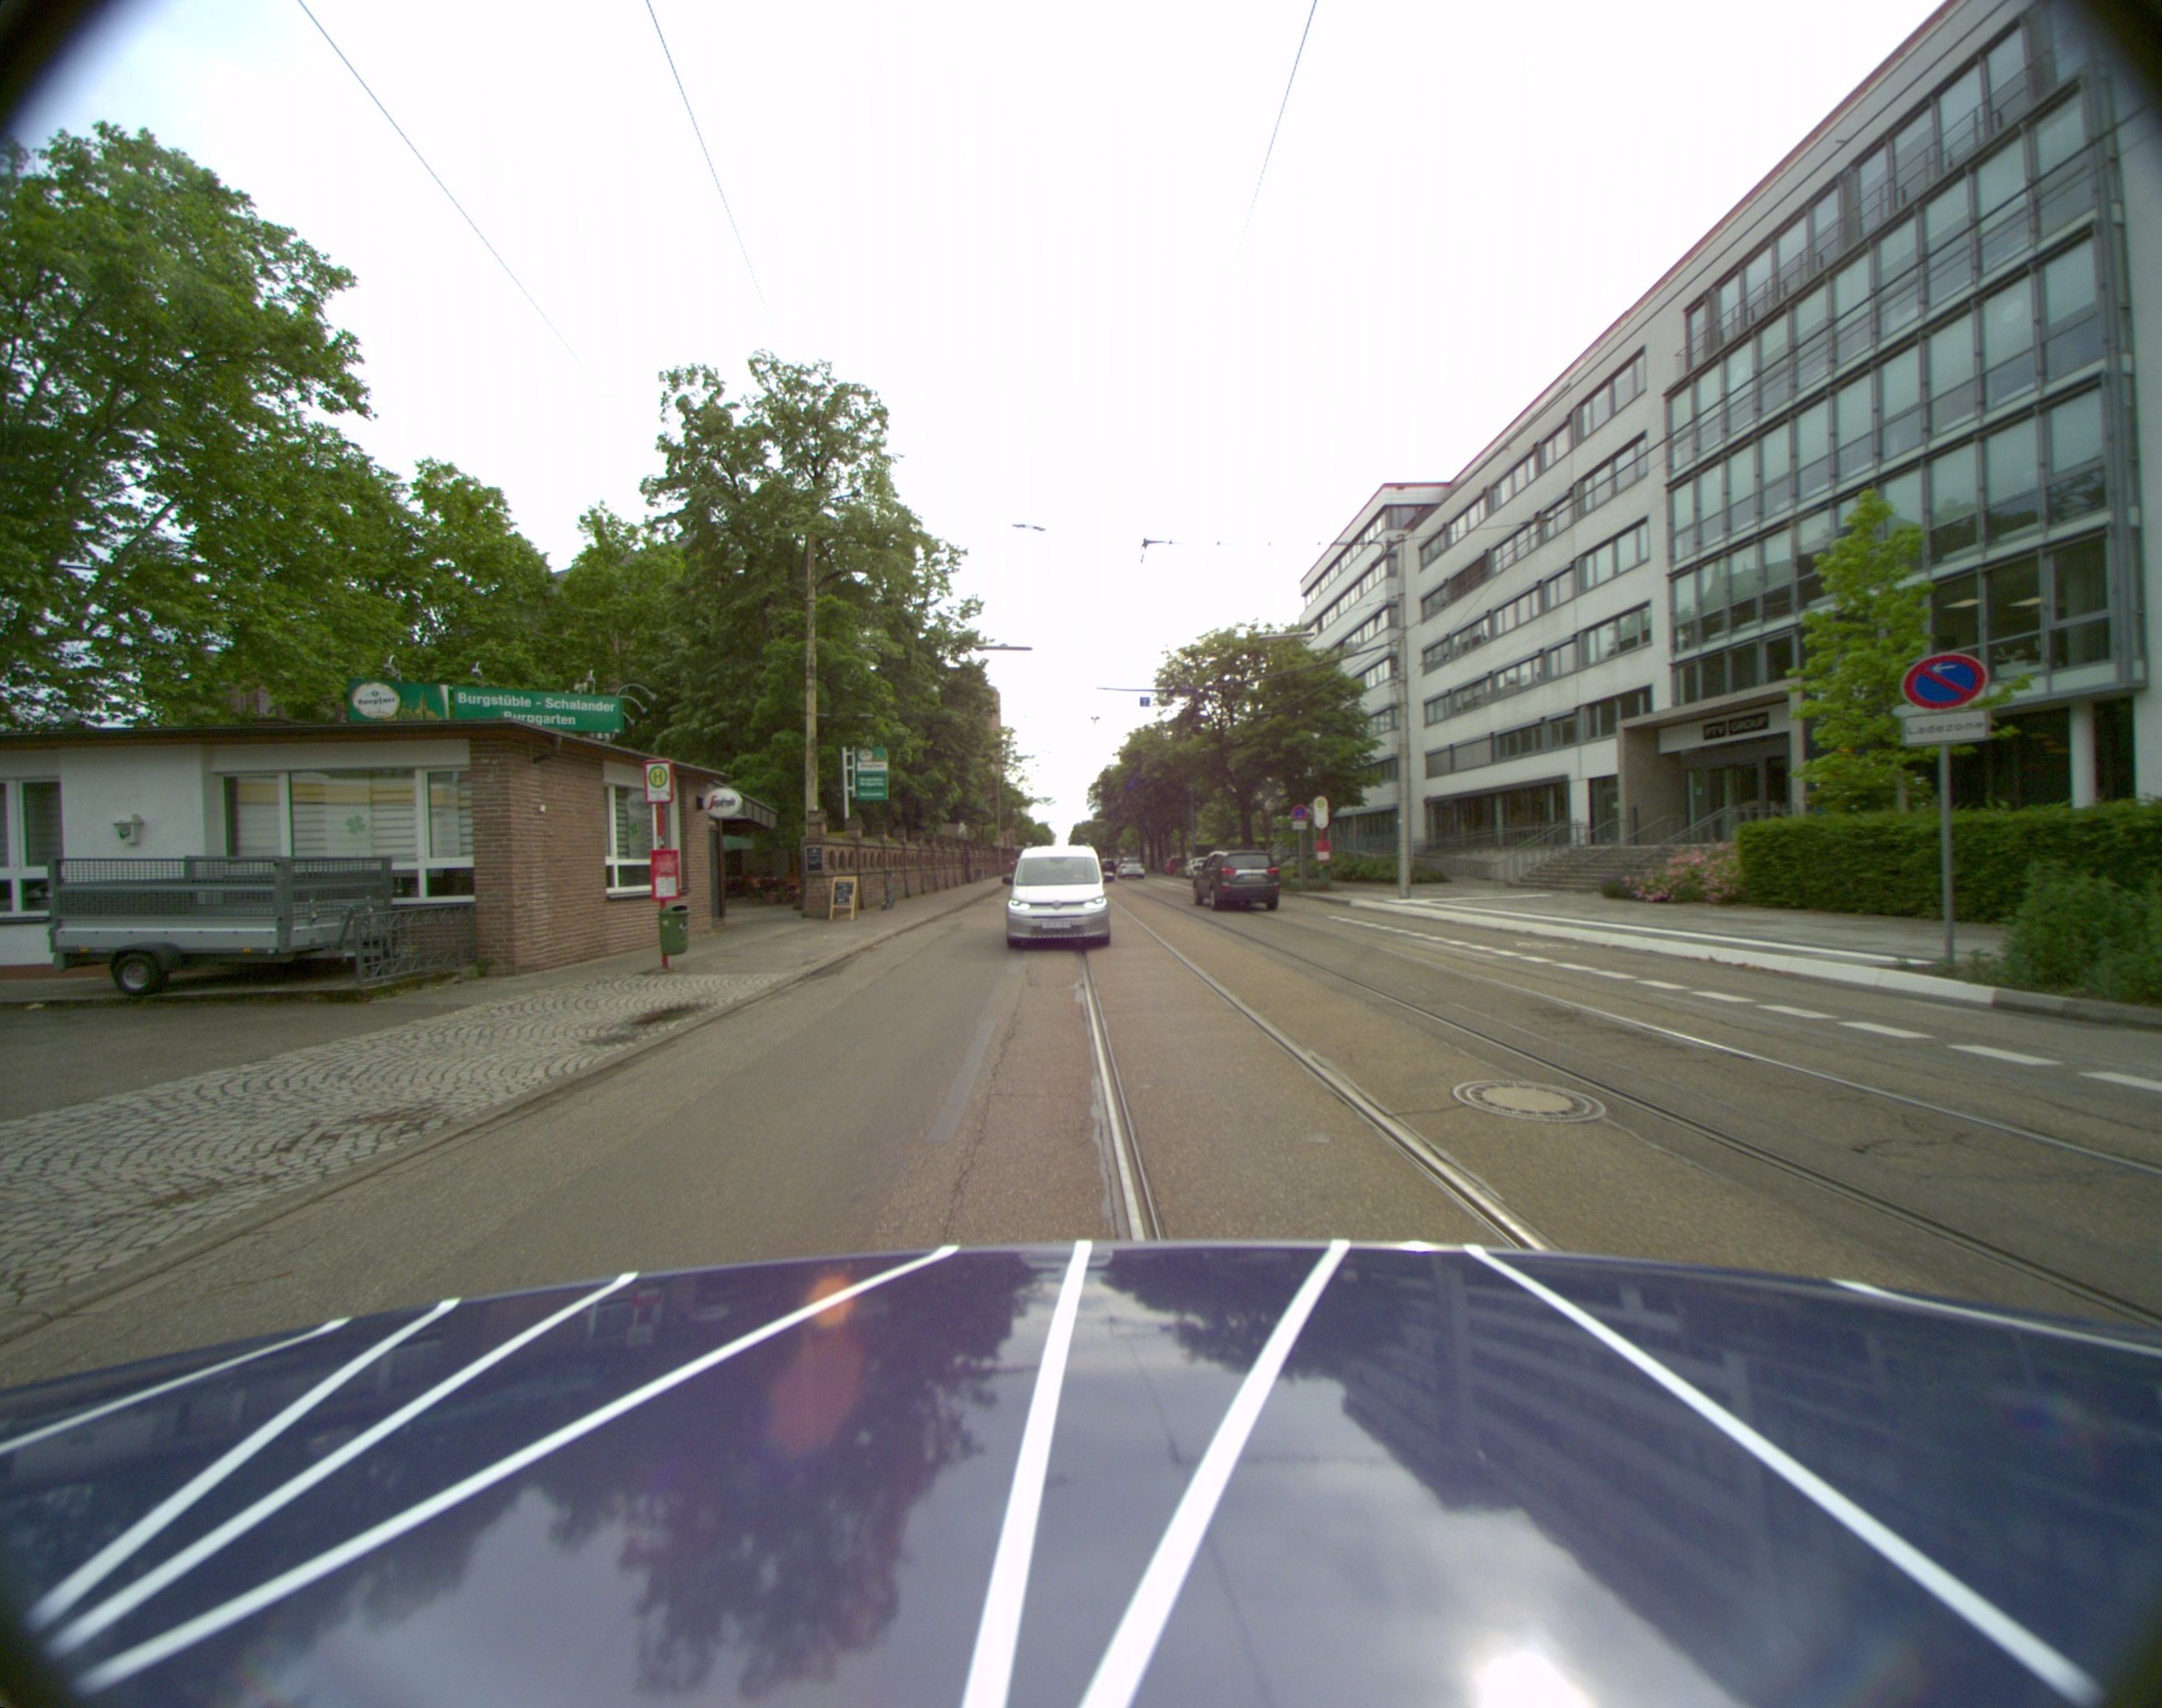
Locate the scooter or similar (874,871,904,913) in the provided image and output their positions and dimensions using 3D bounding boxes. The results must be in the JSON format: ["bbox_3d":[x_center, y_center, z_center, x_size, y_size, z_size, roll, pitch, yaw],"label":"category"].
[{"bbox_3d":[-6.007,1.162,23.808,0.578,1.232,1.409,2,0,-1],"label":"scooter or similar"}]

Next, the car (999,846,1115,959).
[{"bbox_3d":[-0.441,0.802,14.843,1.850,1.796,4.936,-1,0,-1],"label":"car"}]

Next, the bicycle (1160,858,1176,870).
[{"bbox_3d":[8.410,0.988,73.618,1.473,1.134,0.617,-2,1,-2],"label":"bicycle"}]

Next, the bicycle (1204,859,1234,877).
[{"bbox_3d":[8.804,0.869,48.439,1.811,1.094,0.632,-1,1,-7],"label":"bicycle"}]

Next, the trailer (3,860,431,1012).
[{"bbox_3d":[-10.056,0.898,9.050,3.169,1.530,1.621,-2,1,0],"label":"trailer"}]

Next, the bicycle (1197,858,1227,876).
[{"bbox_3d":[8.551,0.843,49.607,1.869,1.180,0.632,-1,1,3],"label":"bicycle"}]

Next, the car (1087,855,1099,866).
[{"bbox_3d":[1.886,1.049,121.668,1.847,1.644,4.389,0,0,-1],"label":"car"}]

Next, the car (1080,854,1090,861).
[{"bbox_3d":[0.847,0.747,164.244,1.745,1.490,4.260,-2,0,-3],"label":"car"}]

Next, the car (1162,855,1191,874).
[{"bbox_3d":[8.236,0.892,65.837,1.632,1.439,3.755,-5,1,-4],"label":"car"}]

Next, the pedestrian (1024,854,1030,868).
[{"bbox_3d":[-7.218,0.966,101.099,0.723,1.834,0.897,0,1,-4],"label":"pedestrian"}]

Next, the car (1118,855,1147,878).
[{"bbox_3d":[3.733,0.889,55.487,1.708,1.521,3.741,-2,1,-2],"label":"car"}]

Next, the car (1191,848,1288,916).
[{"bbox_3d":[4.433,0.714,21.909,1.832,1.727,4.334,-1,1,0],"label":"car"}]

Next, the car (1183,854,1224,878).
[{"bbox_3d":[8.459,0.777,52.810,1.886,1.484,4.753,-3,0,-1],"label":"car"}]

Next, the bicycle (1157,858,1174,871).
[{"bbox_3d":[8.099,1.010,72.608,1.474,1.085,0.616,-3,1,-13],"label":"bicycle"}]

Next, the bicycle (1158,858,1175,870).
[{"bbox_3d":[8.352,0.986,74.122,1.473,1.134,0.617,-3,1,-2],"label":"bicycle"}]

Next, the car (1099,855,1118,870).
[{"bbox_3d":[2.887,0.903,79.813,1.752,1.477,4.063,-1,-1,-1],"label":"car"}]

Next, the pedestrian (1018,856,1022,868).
[{"bbox_3d":[-8.105,1.061,101.190,0.559,1.645,0.771,0,0,-4],"label":"pedestrian"}]
